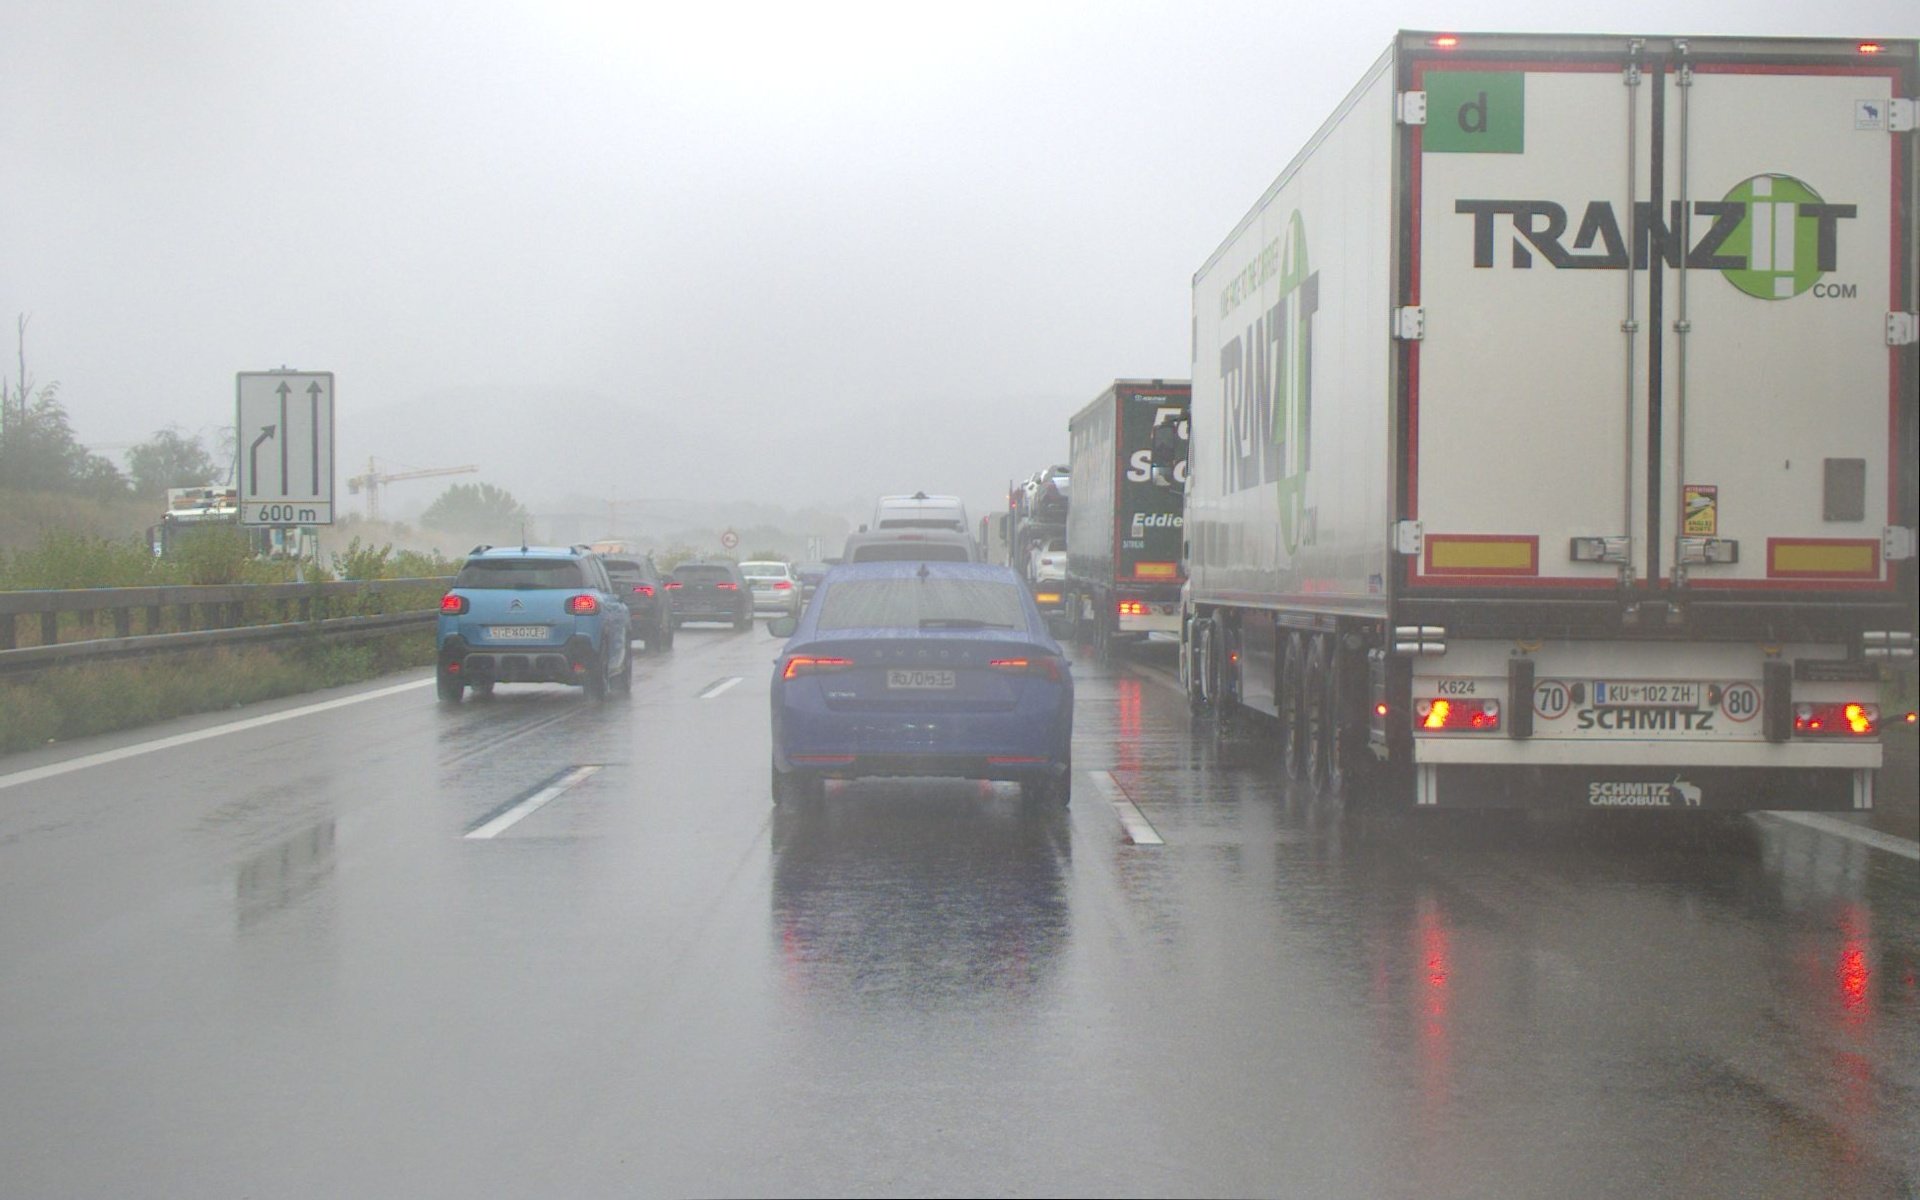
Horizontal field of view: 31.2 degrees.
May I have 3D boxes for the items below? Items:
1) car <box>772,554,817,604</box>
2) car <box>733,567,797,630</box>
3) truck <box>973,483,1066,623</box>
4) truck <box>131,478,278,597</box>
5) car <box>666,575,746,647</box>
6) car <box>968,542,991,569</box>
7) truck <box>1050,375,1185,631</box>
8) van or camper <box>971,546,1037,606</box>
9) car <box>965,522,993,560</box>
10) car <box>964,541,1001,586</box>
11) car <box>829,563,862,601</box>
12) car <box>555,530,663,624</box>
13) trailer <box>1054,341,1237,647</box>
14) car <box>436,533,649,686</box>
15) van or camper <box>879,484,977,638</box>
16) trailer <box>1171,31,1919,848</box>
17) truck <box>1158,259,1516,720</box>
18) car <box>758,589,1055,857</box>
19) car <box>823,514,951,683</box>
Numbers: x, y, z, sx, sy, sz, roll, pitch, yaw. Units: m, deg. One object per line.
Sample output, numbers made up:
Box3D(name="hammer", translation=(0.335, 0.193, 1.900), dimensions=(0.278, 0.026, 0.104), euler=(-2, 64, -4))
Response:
Box3D(name="car", translation=(-5.938, -0.762, 123.526), dimensions=(1.448, 1.777, 3.409), euler=(1, 0, -1))
Box3D(name="car", translation=(-4.882, -0.052, 86.335), dimensions=(1.439, 1.528, 3.322), euler=(0, 1, -1))
Box3D(name="truck", translation=(1.474, -1.254, 88.294), dimensions=(1.993, 3.410, 8.033), euler=(0, 1, -2))
Box3D(name="truck", translation=(-18.363, -1.485, 83.734), dimensions=(2.481, 2.710, 4.527), euler=(-2, 0, 1))
Box3D(name="car", translation=(-5.288, 0.211, 71.799), dimensions=(1.439, 1.415, 3.322), euler=(0, 1, -1))
Box3D(name="car", translation=(1.278, -2.961, 228.332), dimensions=(1.448, 1.777, 3.409), euler=(1, 0, -1))
Box3D(name="truck", translation=(2.632, -1.627, 58.219), dimensions=(2.047, 4.178, 4.000), euler=(0, 1, -1))
Box3D(name="van or camper", translation=(1.245, -0.707, 98.807), dimensions=(1.771, 1.619, 4.484), euler=(0, 1, -1))
Box3D(name="car", translation=(0.934, -2.985, 173.841), dimensions=(1.335, 1.883, 3.040), euler=(-1, 1, -1))
Box3D(name="car", translation=(0.909, -1.492, 139.204), dimensions=(1.448, 1.777, 3.409), euler=(1, 0, -1))
Box3D(name="car", translation=(-5.464, -0.849, 164.496), dimensions=(1.448, 1.777, 3.409), euler=(1, 0, -1))
Box3D(name="car", translation=(-5.469, -0.383, 53.867), dimensions=(1.359, 1.426, 3.364), euler=(0, 1, 0))
Box3D(name="trailer", translation=(2.679, -1.546, 52.444), dimensions=(2.047, 4.162, 11.449), euler=(0, 1, -1))
Box3D(name="car", translation=(-4.348, 0.068, 36.305), dimensions=(1.722, 1.518, 4.000), euler=(0, 1, 0))
Box3D(name="van or camper", translation=(-0.607, -0.757, 65.118), dimensions=(1.797, 2.797, 4.768), euler=(0, 1, -1))
Box3D(name="trailer", translation=(3.323, -0.919, 24.177), dimensions=(2.630, 3.999, 14.630), euler=(0, 1, -1))
Box3D(name="truck", translation=(3.259, -0.956, 30.881), dimensions=(2.630, 3.814, 4.791), euler=(0, 1, -1))
Box3D(name="car", translation=(-0.289, 0.672, 20.996), dimensions=(1.635, 1.440, 4.000), euler=(0, 1, 0))
Box3D(name="car", translation=(-0.779, -0.045, 37.696), dimensions=(1.336, 1.774, 3.322), euler=(0, 1, -1))
